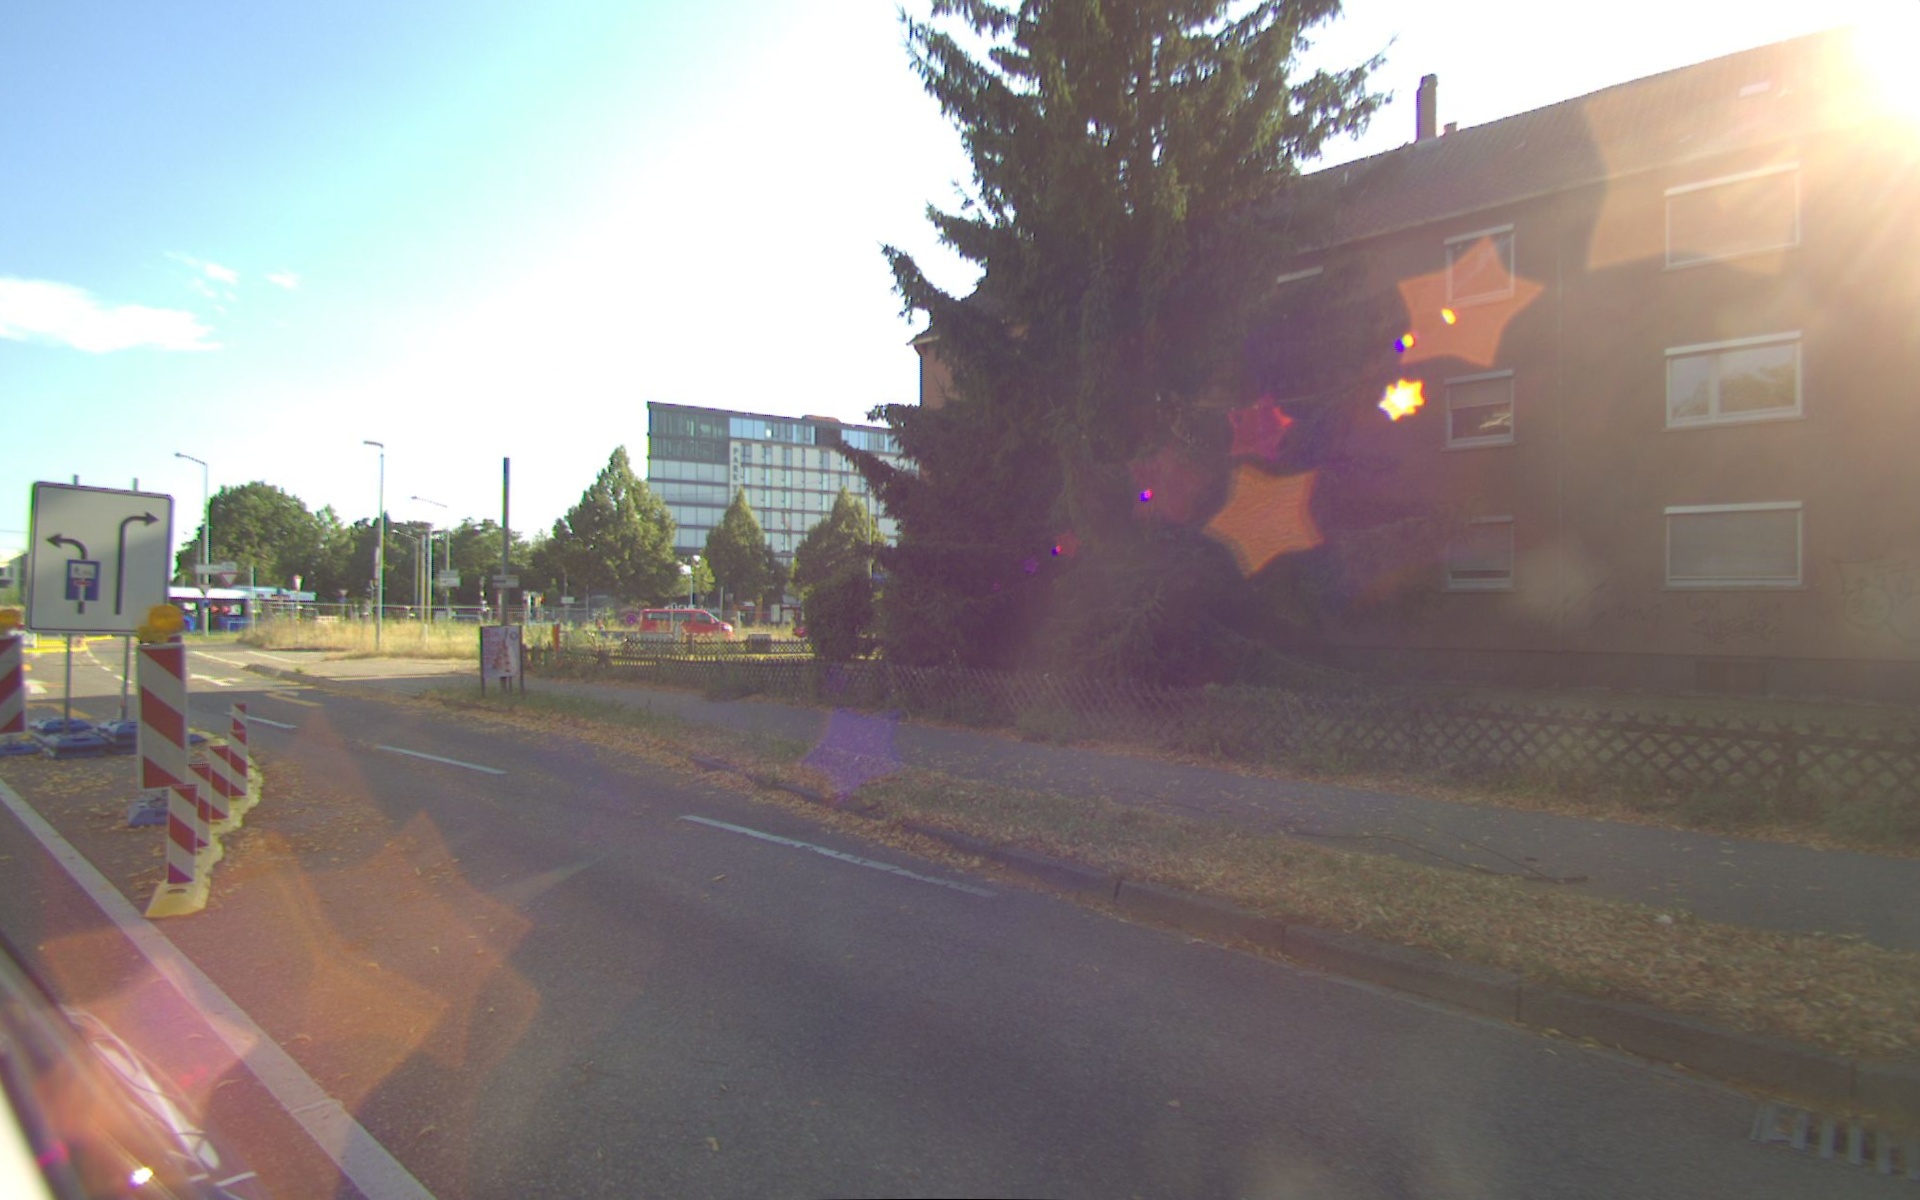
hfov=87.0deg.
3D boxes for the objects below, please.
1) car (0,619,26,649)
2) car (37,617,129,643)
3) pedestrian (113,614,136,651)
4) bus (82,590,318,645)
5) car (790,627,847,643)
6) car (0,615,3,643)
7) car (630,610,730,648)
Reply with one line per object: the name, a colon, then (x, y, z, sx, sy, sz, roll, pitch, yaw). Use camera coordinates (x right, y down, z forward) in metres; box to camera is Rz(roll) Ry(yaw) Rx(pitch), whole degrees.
car: (-50.306, 1.713, 51.355, 1.997, 1.535, 3.949, -1, -2, 37)
car: (-54.848, 1.890, 63.378, 1.767, 1.542, 3.967, 0, -2, 24)
pedestrian: (-40.809, 1.580, 49.433, 0.760, 1.789, 0.761, 2, -2, -43)
bus: (-47.265, 1.117, 63.711, 2.650, 3.085, 12.079, 0, -1, 24)
car: (-10.366, 2.561, 74.250, 3.868, 1.175, 1.335, 1, -1, -30)
car: (-53.099, 1.523, 53.095, 1.840, 1.497, 3.949, -1, -2, 38)
car: (-15.656, 1.636, 56.886, 5.226, 2.029, 2.004, 1, -2, -10)
